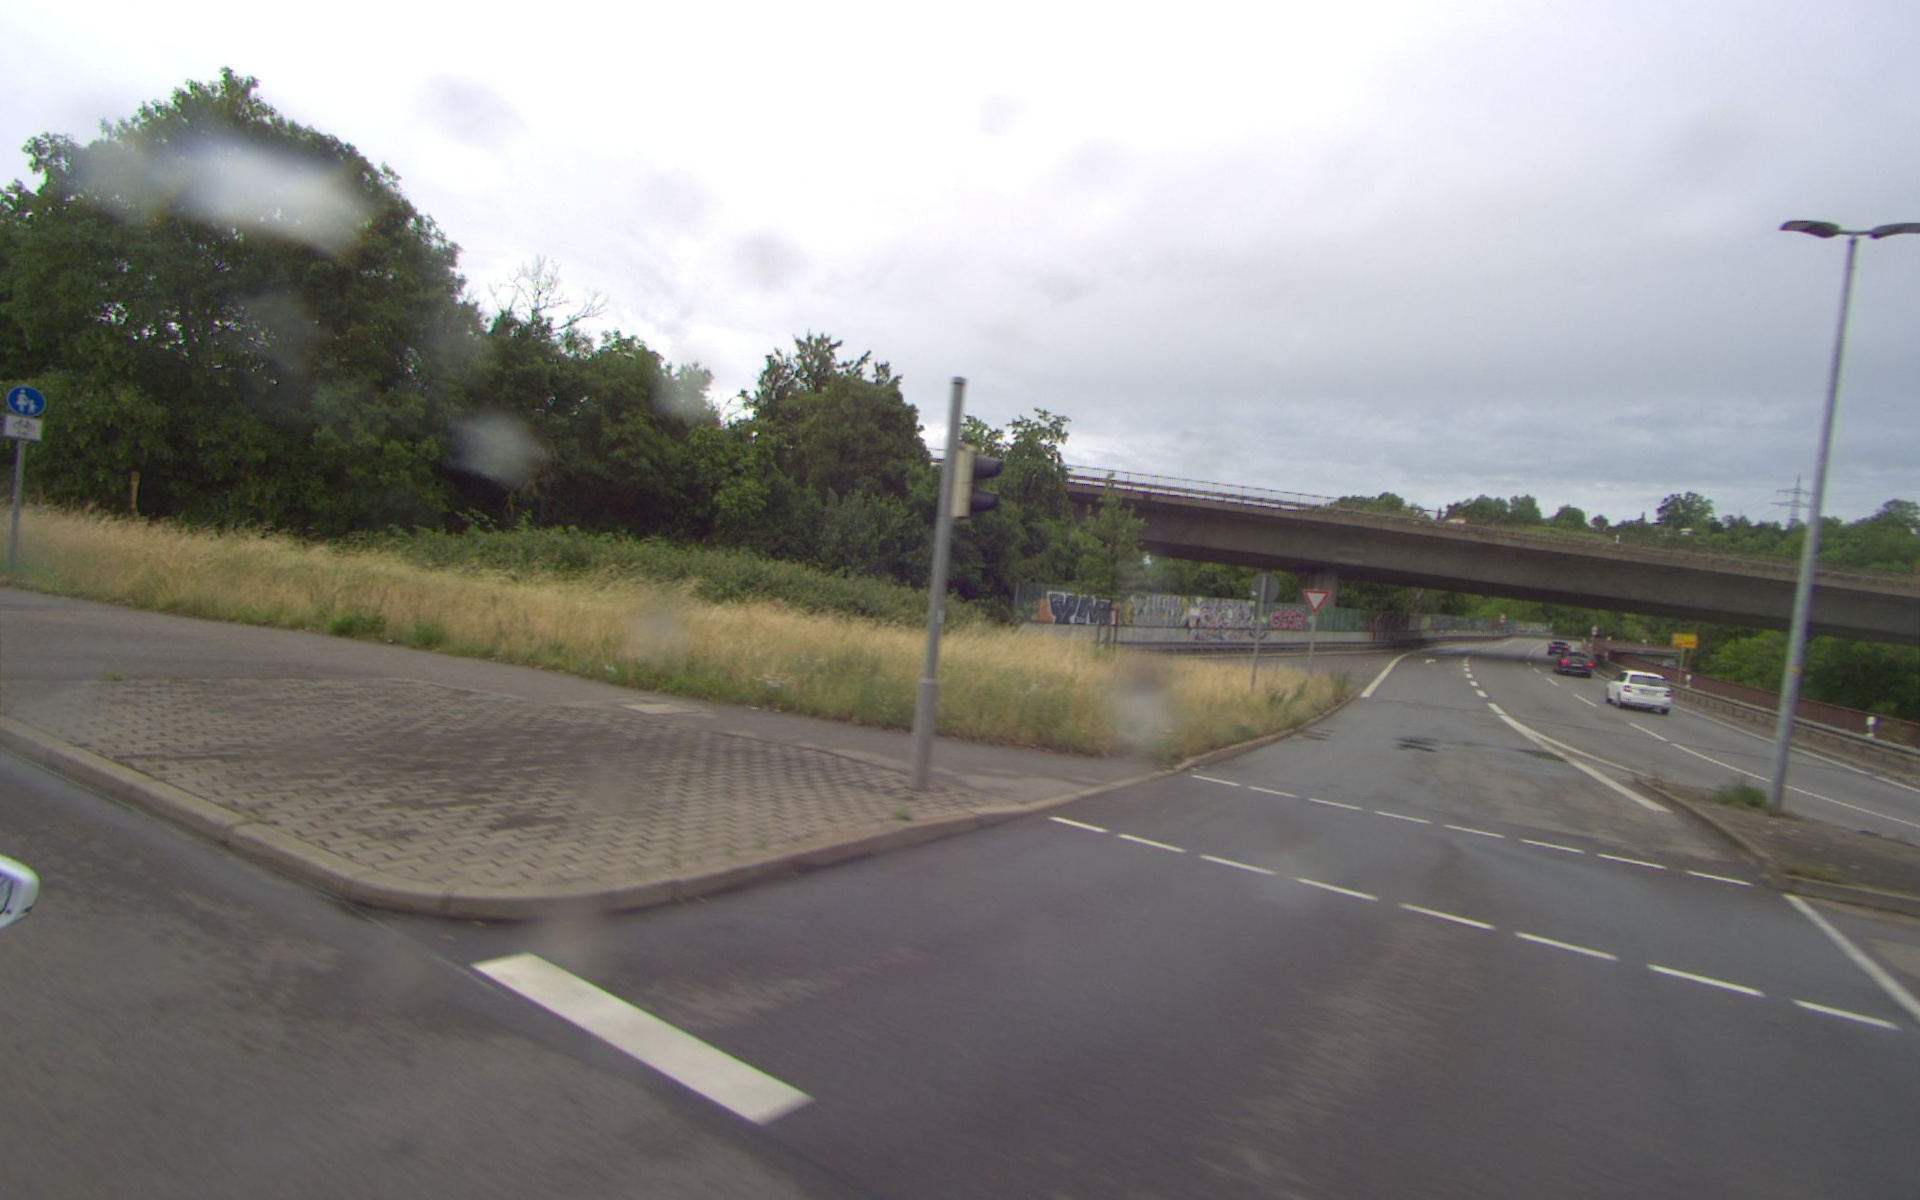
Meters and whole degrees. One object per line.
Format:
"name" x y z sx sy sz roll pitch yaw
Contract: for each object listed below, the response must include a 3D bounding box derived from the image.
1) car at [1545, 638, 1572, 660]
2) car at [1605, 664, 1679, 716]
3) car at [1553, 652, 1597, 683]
"car" 57.294 4.687 96.324 1.841 1.736 3.994 8 0 29
"car" 26.515 3.475 39.226 1.721 1.477 3.662 8 4 26
"car" 36.925 4.061 60.492 1.879 1.554 3.994 8 0 29
